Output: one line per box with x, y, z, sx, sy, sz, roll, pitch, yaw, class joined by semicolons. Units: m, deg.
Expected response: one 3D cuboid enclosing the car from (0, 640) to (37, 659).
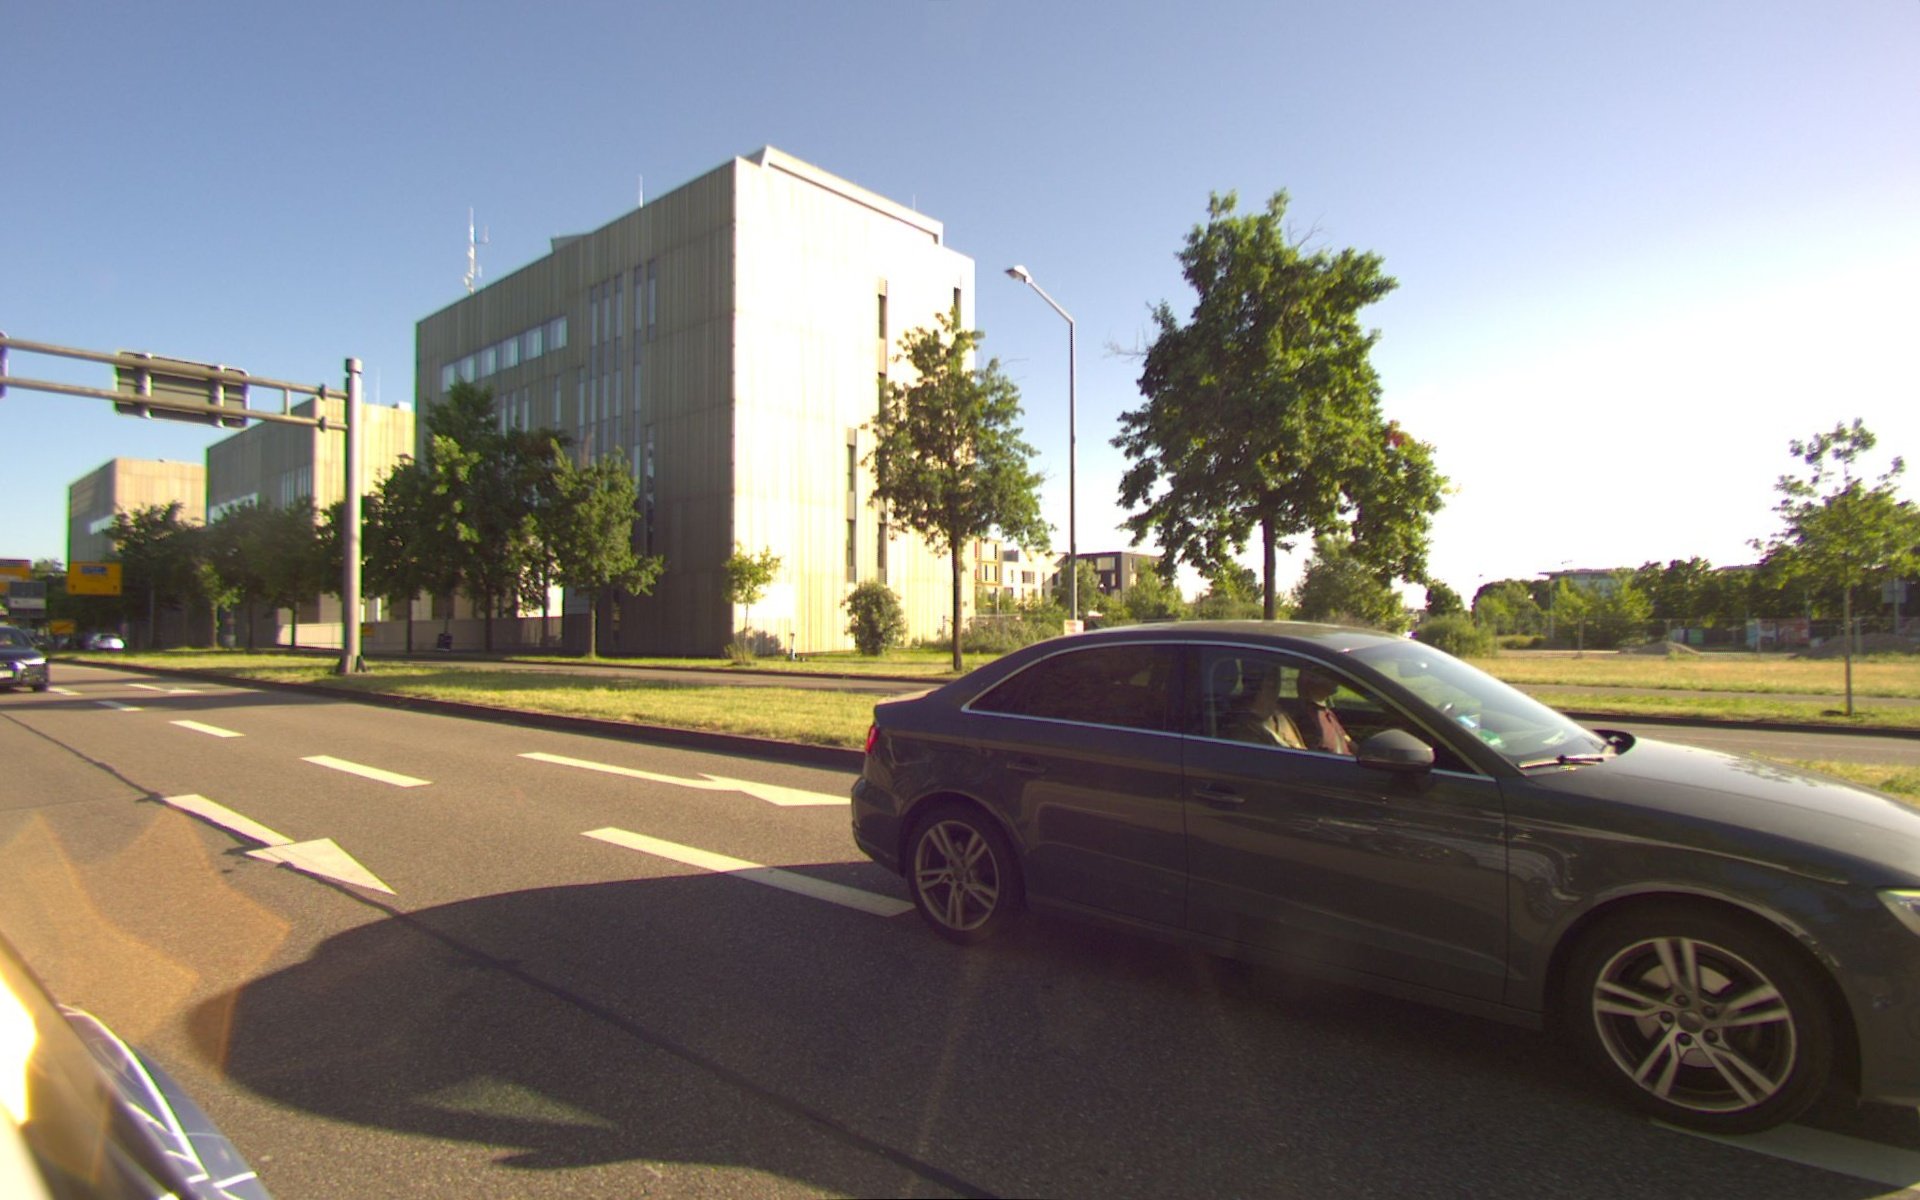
-82.882;4.321;89.076;3.998;1.590;1.973;-2;-2;41;car

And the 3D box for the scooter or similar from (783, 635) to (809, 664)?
-6.433;1.921;39.704;0.446;1.118;1.409;1;-2;-35;scooter or similar

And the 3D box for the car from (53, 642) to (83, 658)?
-96.057;5.385;108.978;3.998;1.590;1.973;-2;-2;41;car

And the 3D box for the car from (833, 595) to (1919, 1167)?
1.643;0.726;4.121;4.352;1.390;1.743;-2;-2;38;car

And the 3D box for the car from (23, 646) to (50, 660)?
-112.672;6.409;123.497;3.998;1.604;1.973;-2;-2;41;car

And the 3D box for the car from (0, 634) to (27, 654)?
-105.438;4.904;112.543;3.998;2.202;1.973;-2;-2;41;car

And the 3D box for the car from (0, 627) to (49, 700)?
-21.301;1.333;21.901;5.014;1.454;1.774;-2;-2;41;car

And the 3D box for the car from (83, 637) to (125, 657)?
-69.368;3.790;81.980;3.998;1.590;1.973;-2;-2;41;car
